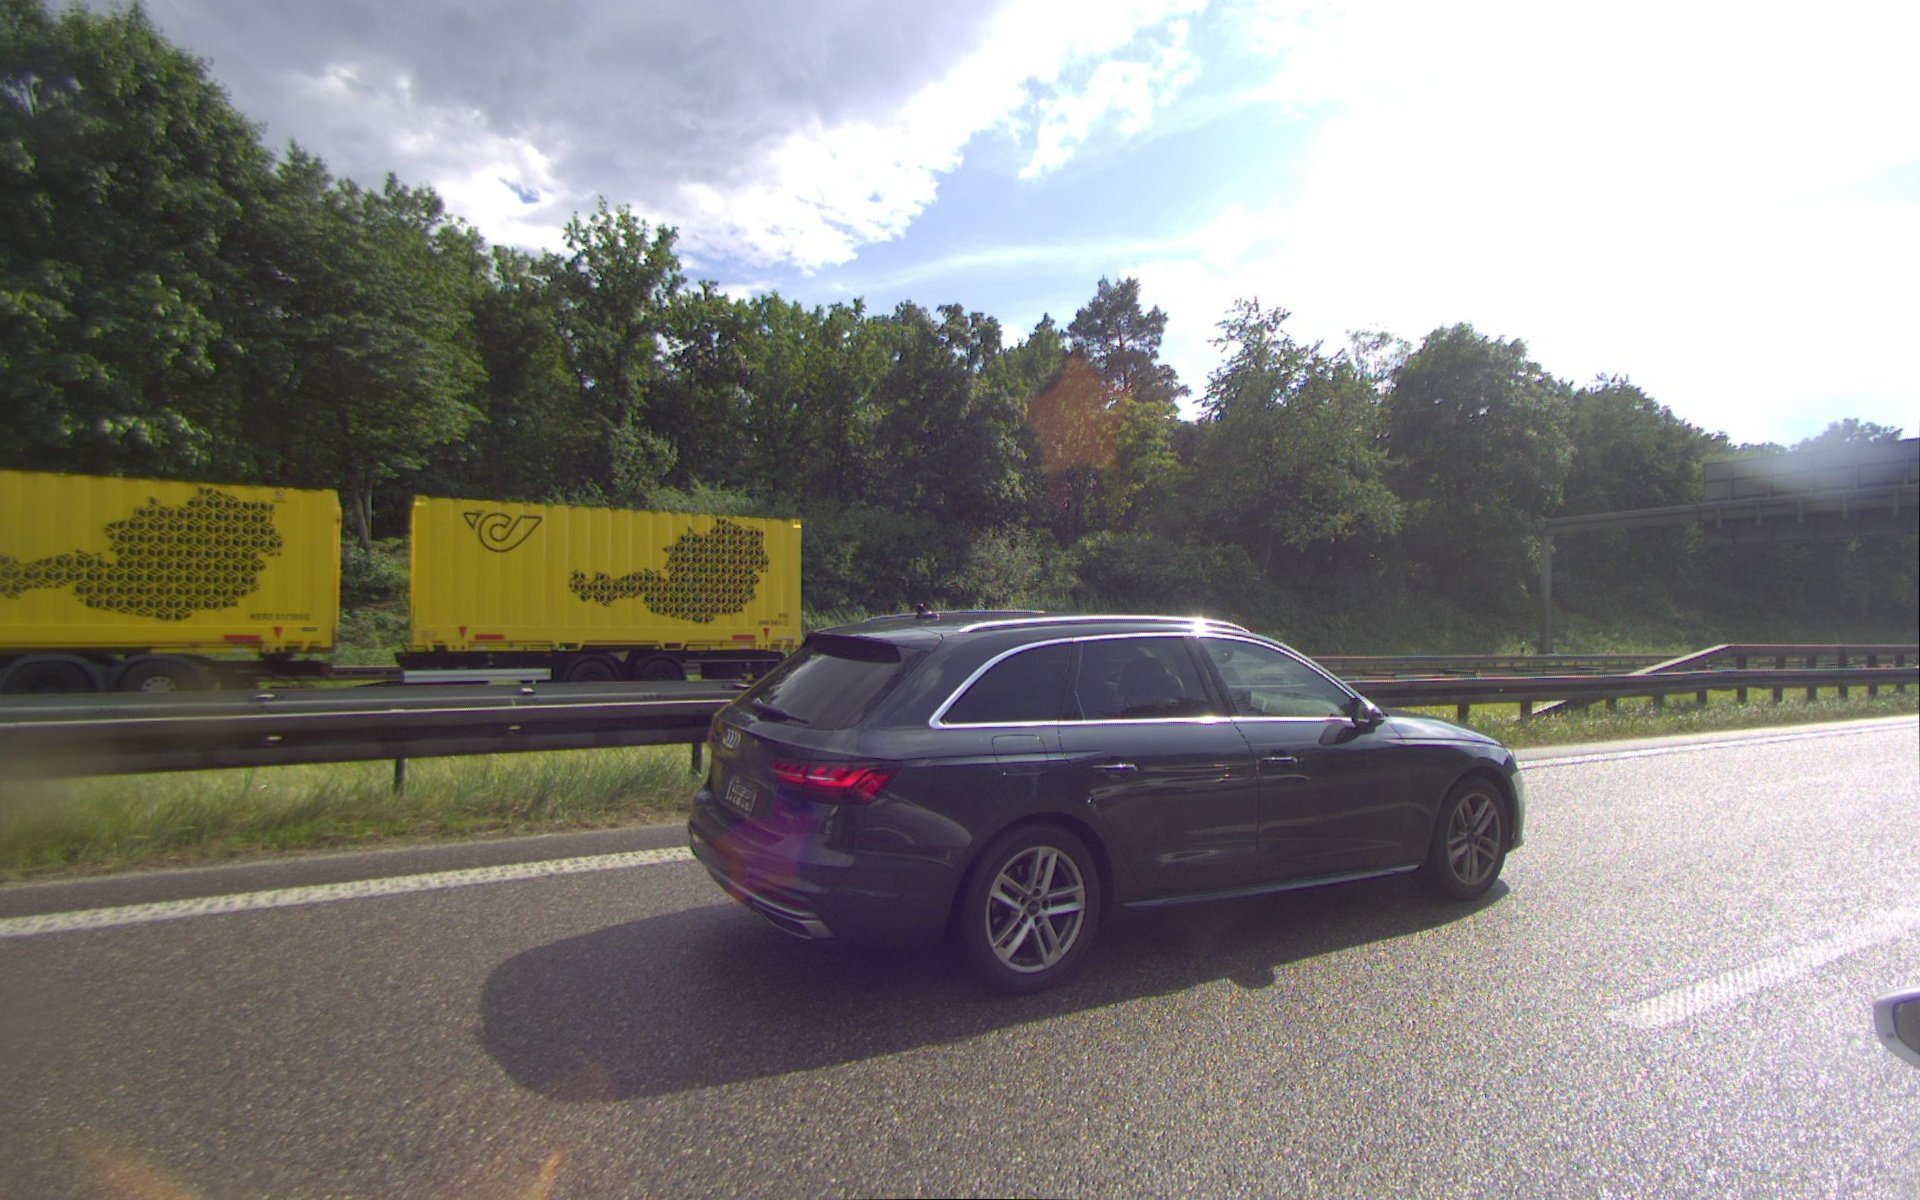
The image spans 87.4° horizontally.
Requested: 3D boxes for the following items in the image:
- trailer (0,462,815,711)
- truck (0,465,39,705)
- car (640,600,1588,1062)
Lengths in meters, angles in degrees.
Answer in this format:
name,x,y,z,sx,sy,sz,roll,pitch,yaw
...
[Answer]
name,x,y,z,sx,sy,sz,roll,pitch,yaw
trailer,-10.893,-0.092,18.583,16.488,3.693,2.708,2,0,-32
truck,-17.363,-0.292,14.635,5.271,3.713,2.708,2,0,-31
car,1.008,0.792,5.171,4.783,1.437,1.785,2,0,-31
